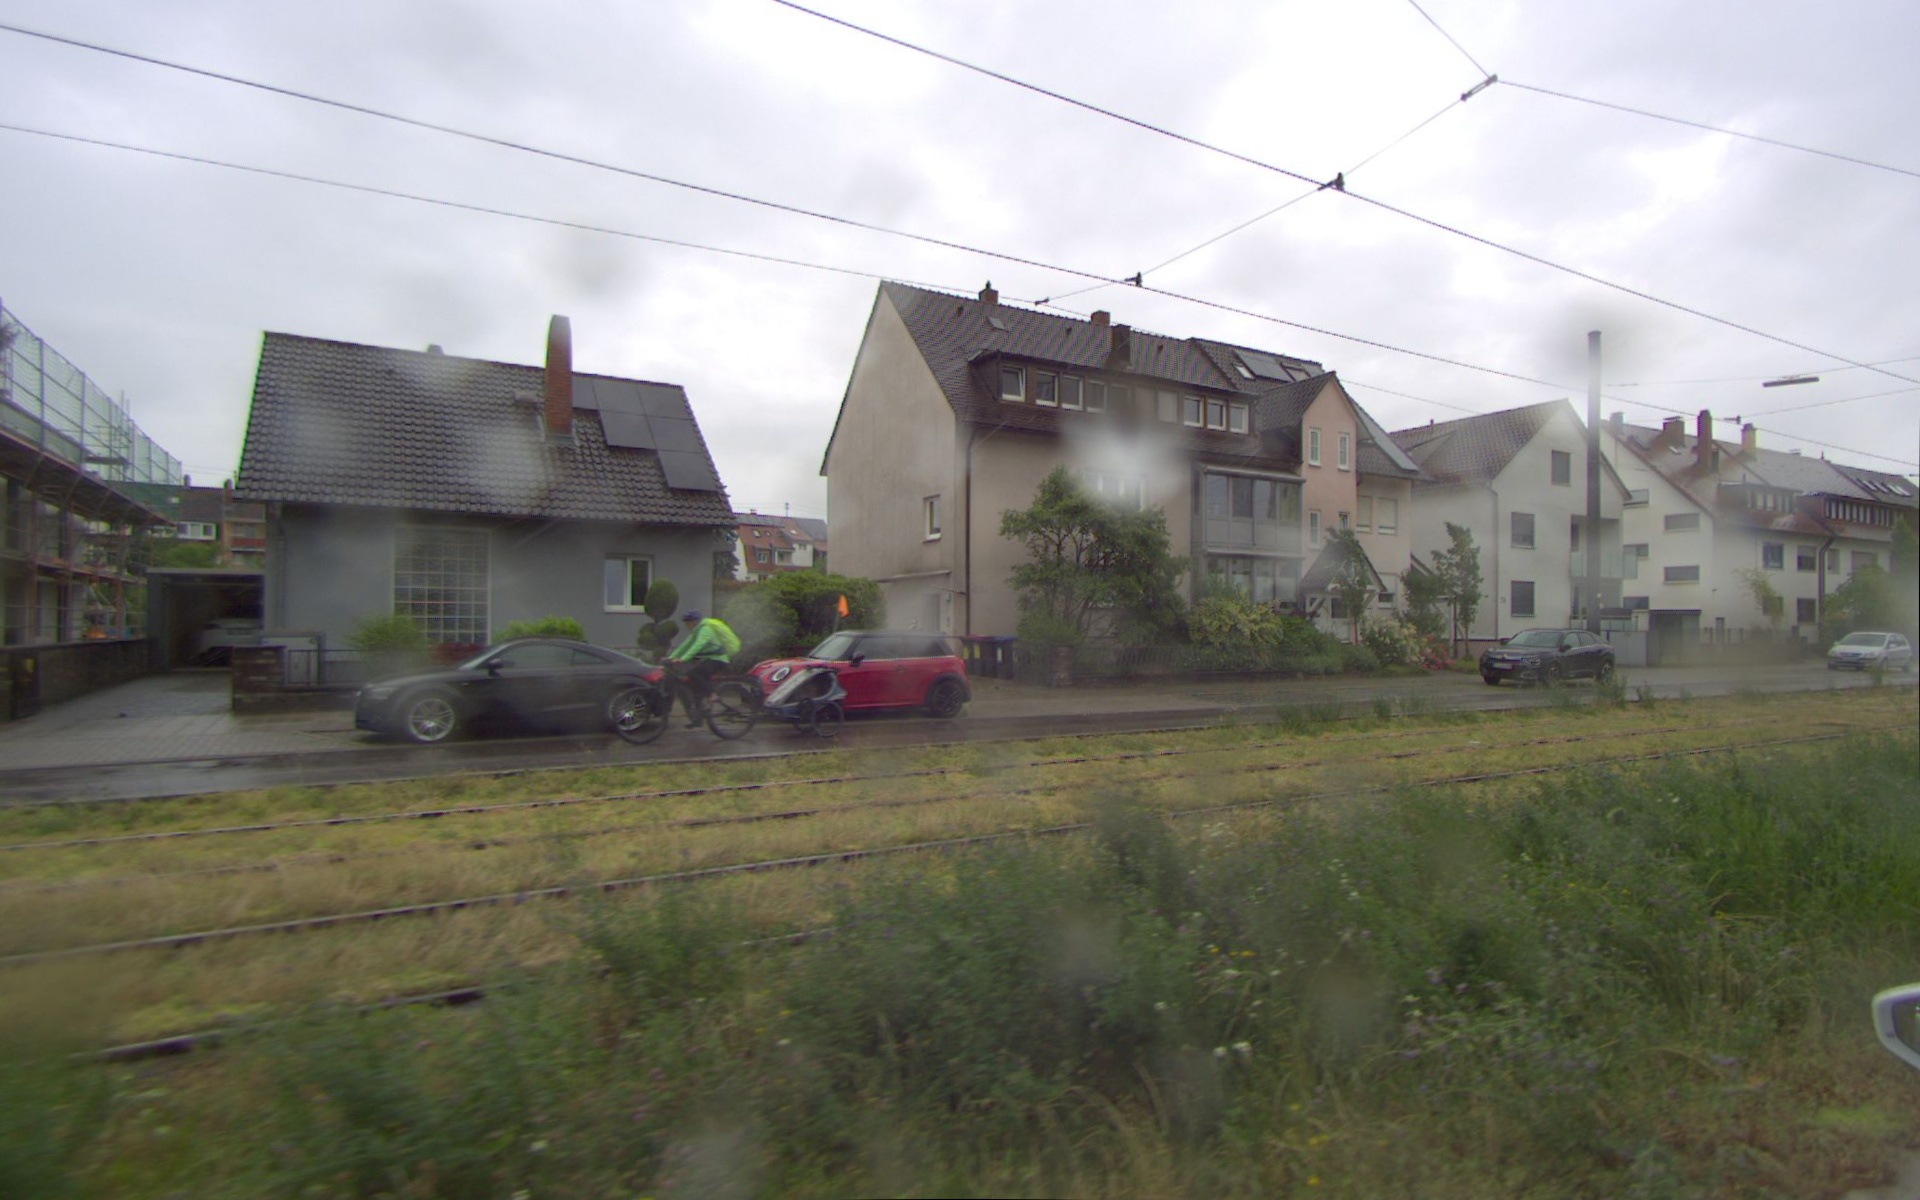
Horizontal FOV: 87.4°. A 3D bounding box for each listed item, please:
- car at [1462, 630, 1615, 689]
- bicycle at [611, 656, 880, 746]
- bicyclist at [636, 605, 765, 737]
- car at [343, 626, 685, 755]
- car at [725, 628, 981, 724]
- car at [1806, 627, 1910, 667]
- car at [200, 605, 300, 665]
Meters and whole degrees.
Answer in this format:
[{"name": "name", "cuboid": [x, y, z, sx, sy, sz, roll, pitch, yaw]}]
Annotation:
[{"name": "car", "cuboid": [15.620, 1.578, 27.095, 4.127, 1.445, 1.827, 2, -1, -31]}, {"name": "bicycle", "cuboid": [-2.797, 1.290, 13.396, 3.396, 1.057, 0.929, 2, -2, -32]}, {"name": "bicyclist", "cuboid": [-3.374, 0.885, 13.023, 1.384, 1.605, 0.949, 2, -1, -31]}, {"name": "car", "cuboid": [-6.170, 1.142, 14.044, 4.126, 1.428, 1.983, 0, 0, -31]}, {"name": "car", "cuboid": [-1.779, 1.213, 16.865, 3.800, 1.391, 1.983, 2, -1, -31]}, {"name": "car", "cuboid": [34.283, 1.794, 38.332, 3.616, 1.432, 1.983, 2, -1, -31]}, {"name": "car", "cuboid": [-19.423, 0.926, 27.639, 1.773, 1.506, 3.969, 2, -1, -29]}]
